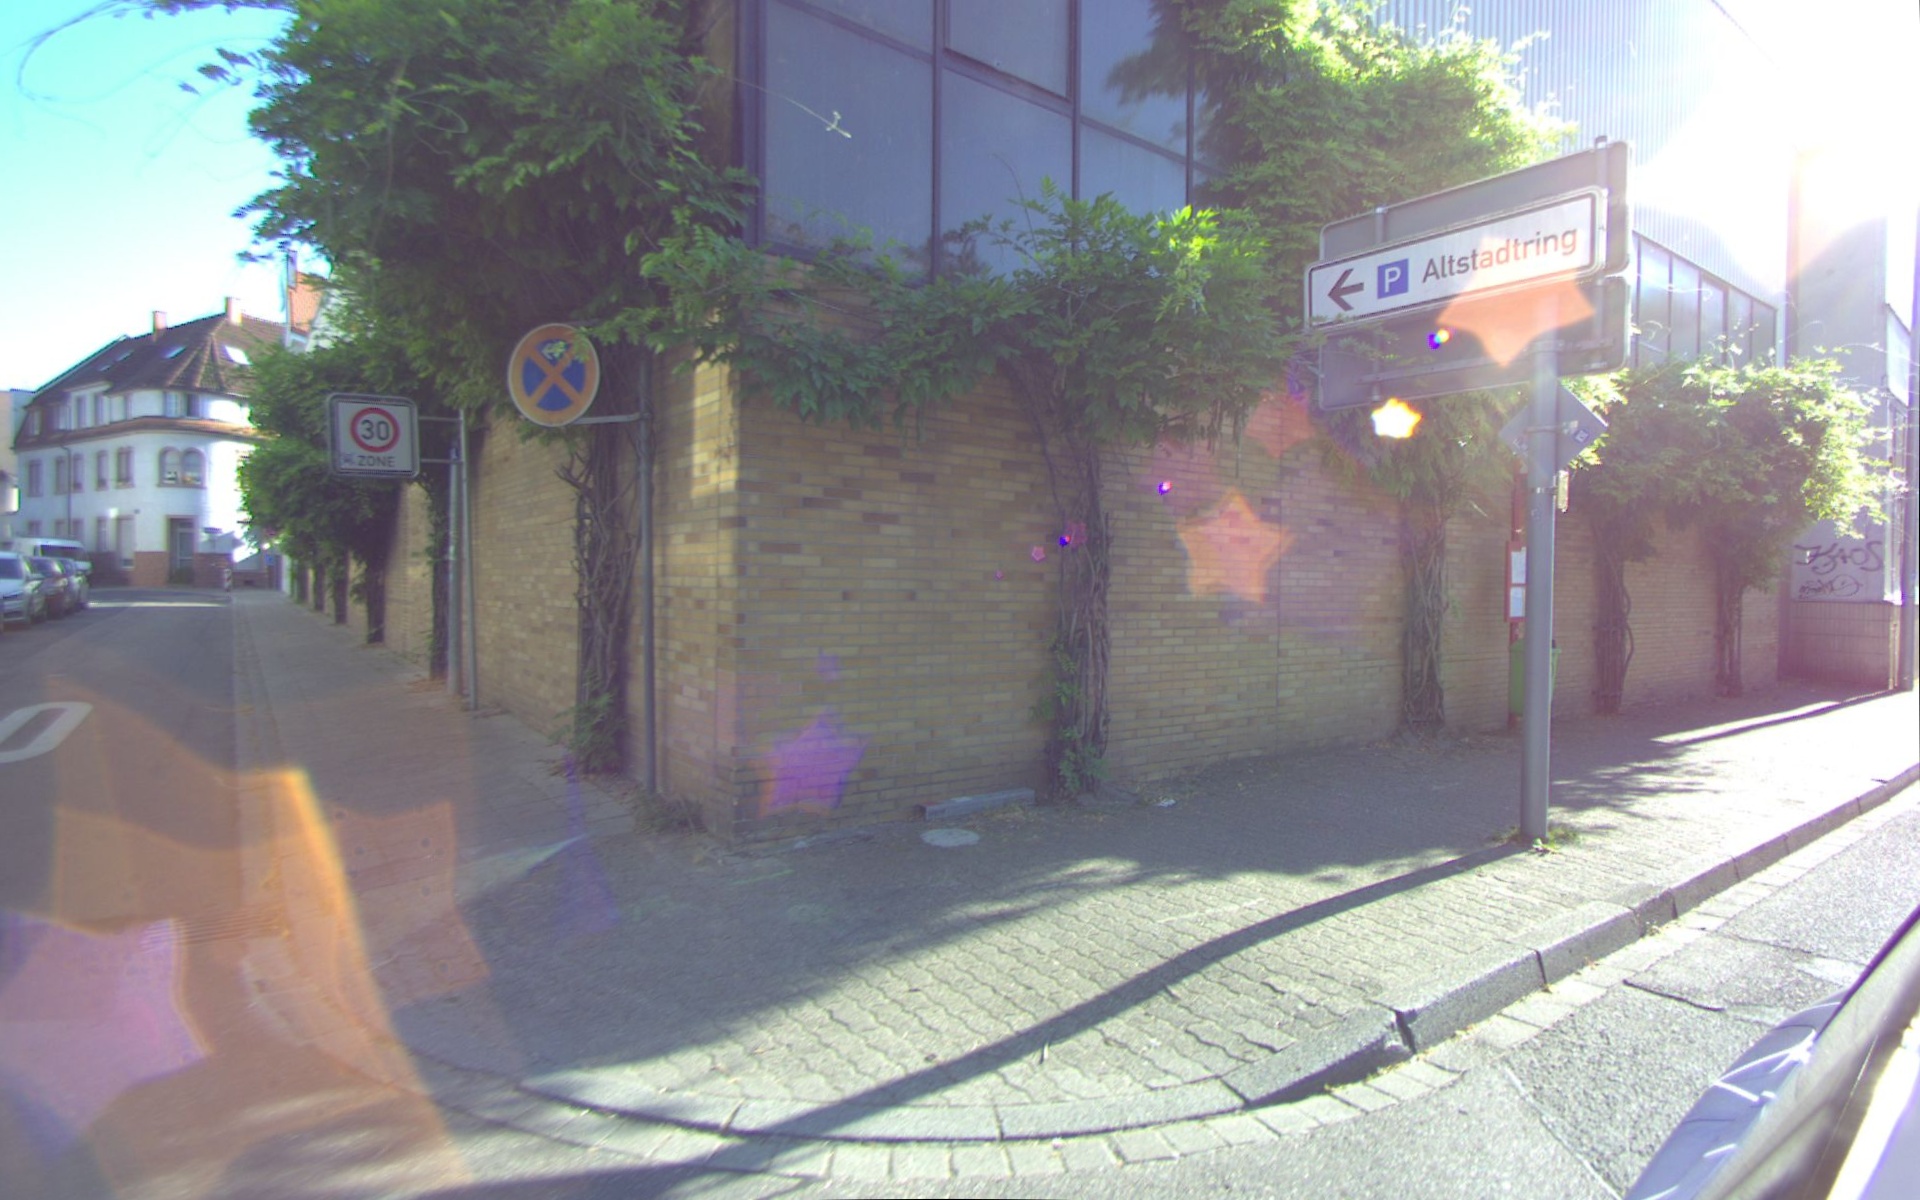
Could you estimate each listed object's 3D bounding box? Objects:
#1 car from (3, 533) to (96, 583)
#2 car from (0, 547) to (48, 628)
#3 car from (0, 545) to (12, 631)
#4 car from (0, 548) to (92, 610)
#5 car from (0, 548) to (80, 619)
[{"bbox_3d":[-45.024,-2.078,50.004,5.562,2.335,1.990,2,2,32],"label":"car"},{"bbox_3d":[-20.787,-0.316,21.587,1.633,1.621,3.671,0,2,-37],"label":"car"},{"bbox_3d":[-18.265,-0.201,17.995,1.633,1.597,3.629,0,2,-37],"label":"car"},{"bbox_3d":[-26.754,-0.660,29.547,1.829,1.672,4.457,0,2,-37],"label":"car"},{"bbox_3d":[-23.790,-0.474,25.693,1.829,1.672,4.457,0,2,-37],"label":"car"}]
